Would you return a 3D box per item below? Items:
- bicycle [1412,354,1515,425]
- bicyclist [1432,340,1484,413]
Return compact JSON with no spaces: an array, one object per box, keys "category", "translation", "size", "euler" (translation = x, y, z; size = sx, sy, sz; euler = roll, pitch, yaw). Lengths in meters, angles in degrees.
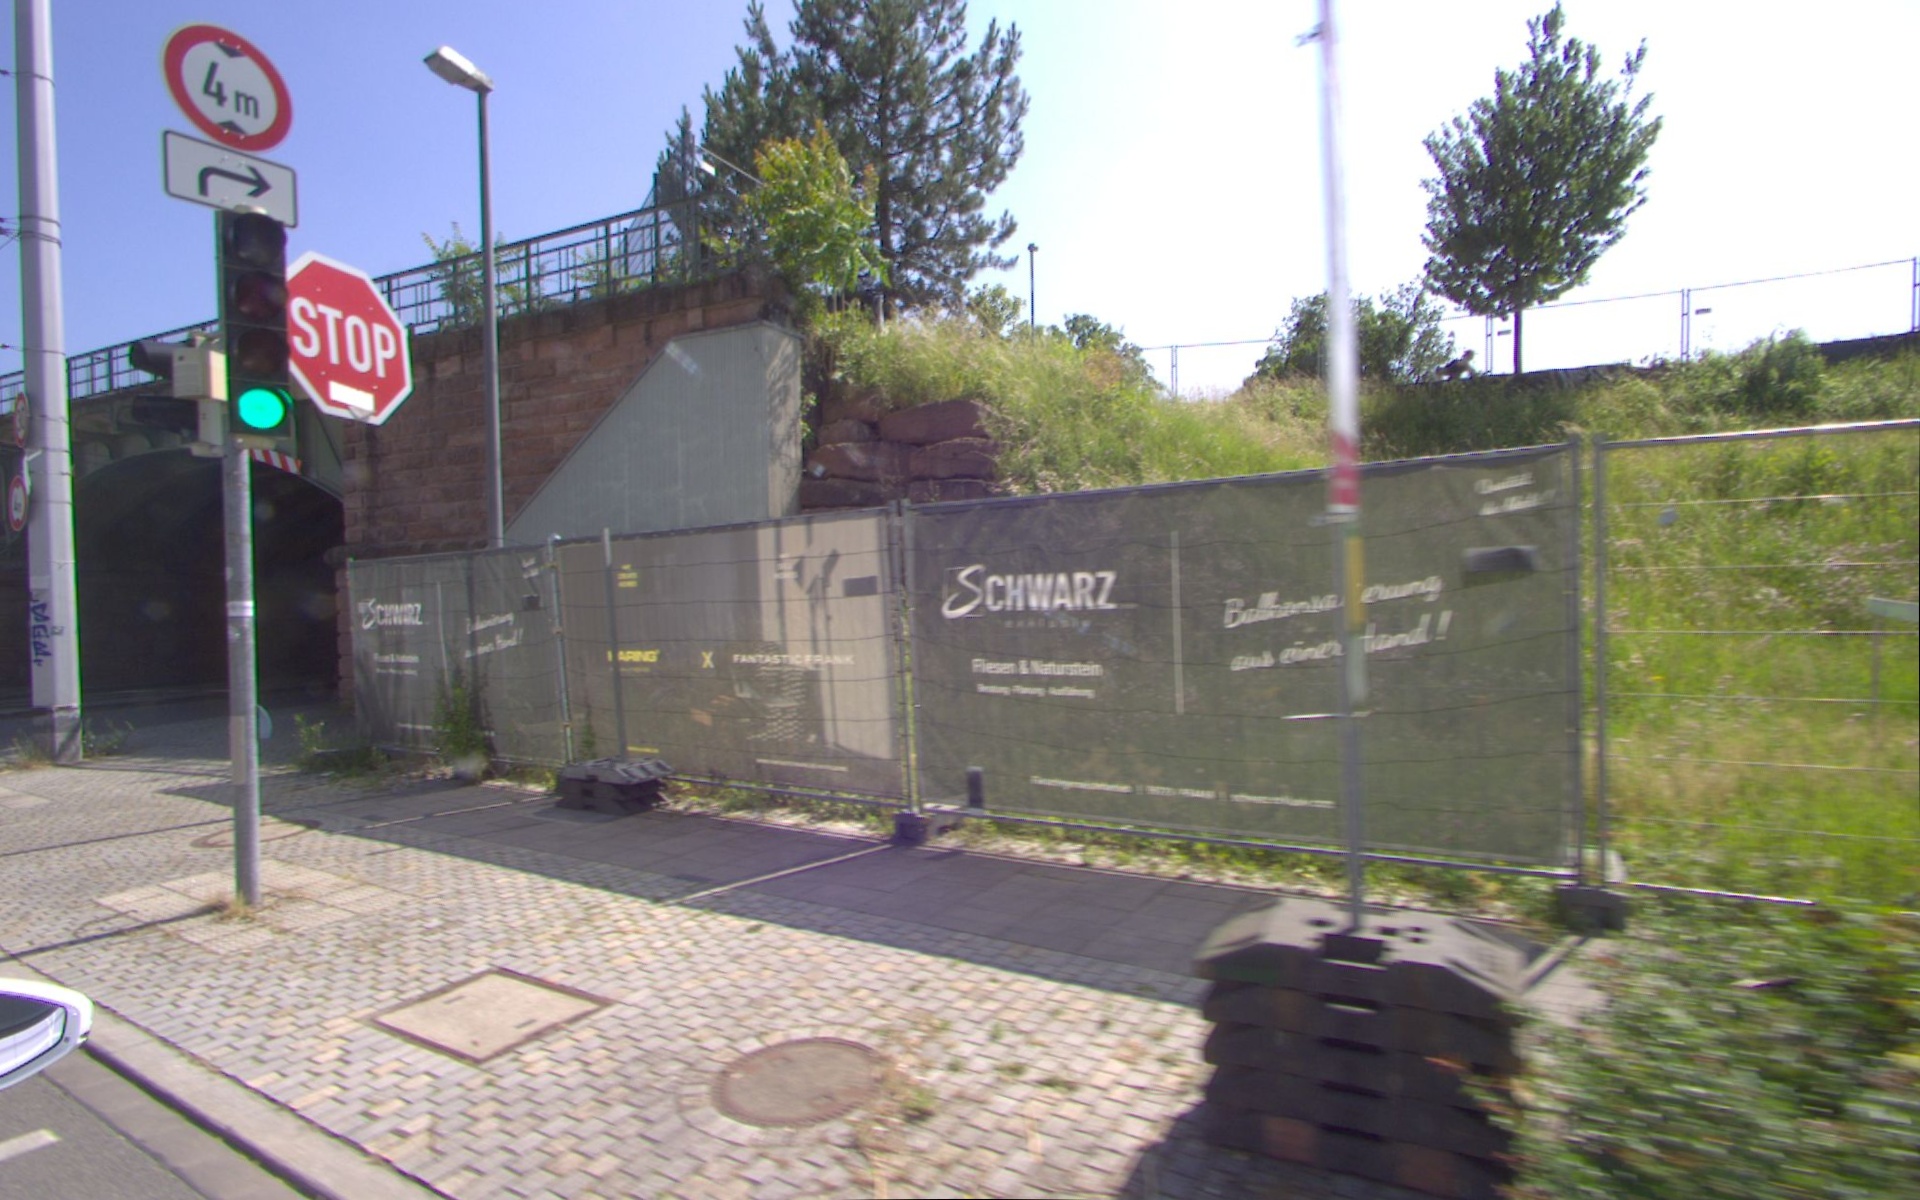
[{"category":"bicycle","translation":[11.995,-5.003,23.947],"size":[2.139,1.228,0.935],"euler":[-2,-2,25]},{"category":"bicyclist","translation":[11.924,-5.331,24.010],"size":[1.045,1.406,0.950],"euler":[-1,-2,25]}]
